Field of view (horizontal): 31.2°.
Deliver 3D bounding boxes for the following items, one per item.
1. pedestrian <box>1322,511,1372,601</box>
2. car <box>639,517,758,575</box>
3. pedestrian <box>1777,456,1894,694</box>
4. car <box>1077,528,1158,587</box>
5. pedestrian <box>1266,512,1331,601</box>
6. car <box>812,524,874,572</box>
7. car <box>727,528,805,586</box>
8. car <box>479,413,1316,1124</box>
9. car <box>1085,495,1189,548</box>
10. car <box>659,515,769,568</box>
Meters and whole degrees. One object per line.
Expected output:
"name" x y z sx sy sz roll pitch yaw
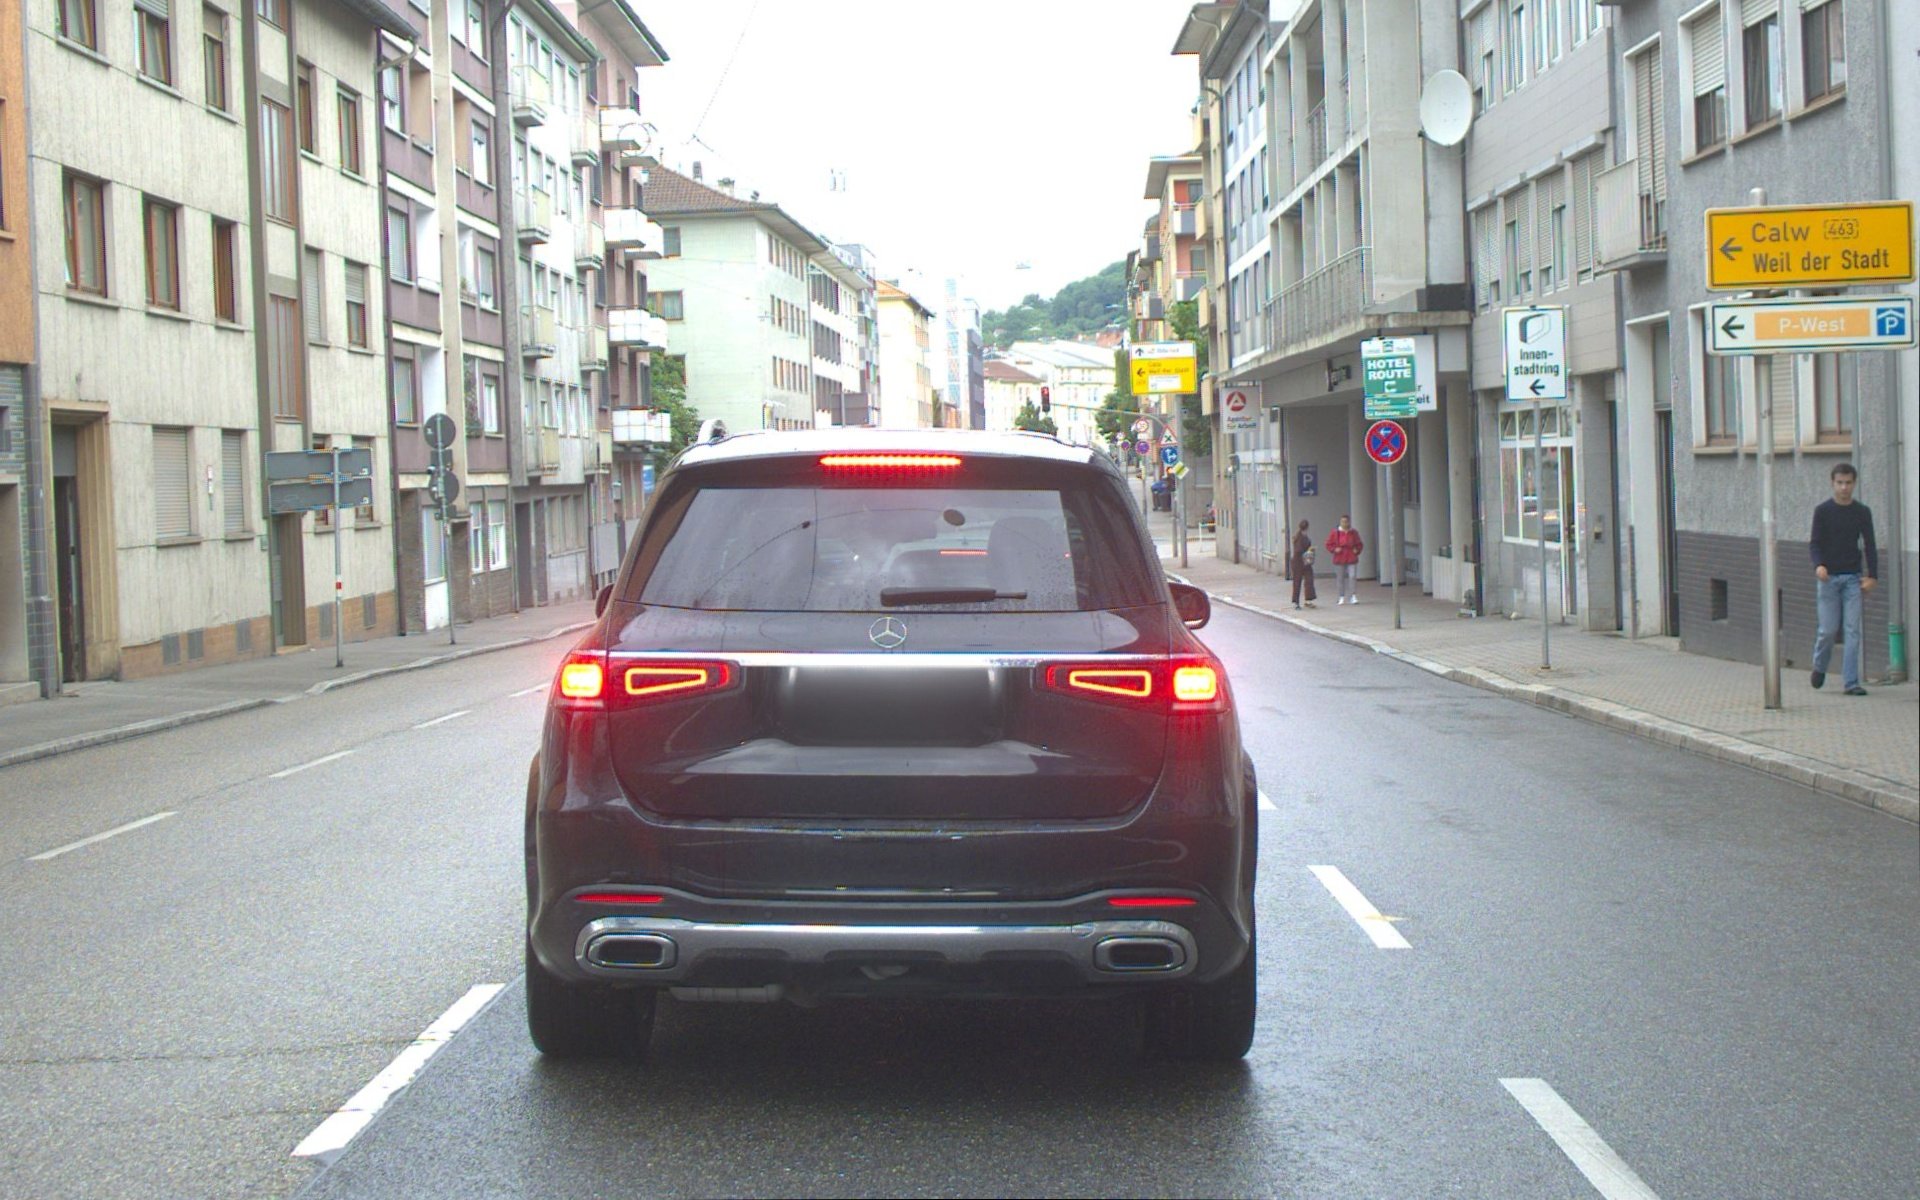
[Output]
"pedestrian" 6.814 -0.782 60.592 0.821 1.560 0.899 0 2 3
"car" -9.275 -1.932 122.080 3.987 2.006 2.000 0 2 3
"pedestrian" 6.652 -0.198 26.142 0.655 1.746 0.741 -4 1 6
"car" 3.901 -1.084 85.637 1.734 1.383 4.583 0 2 -1
"pedestrian" 5.973 -0.778 60.672 0.820 1.560 0.900 -1 2 -22
"car" -3.761 -1.702 111.467 1.891 1.453 4.550 0 2 -1
"car" -5.114 -1.168 91.221 1.891 1.453 4.550 0 2 -1
"car" -0.182 0.343 10.885 2.076 1.759 4.612 0 2 -1
"car" 6.862 -3.049 133.127 3.987 2.006 2.000 0 2 3
"car" -9.505 -2.271 133.120 3.987 2.006 2.000 0 2 3
